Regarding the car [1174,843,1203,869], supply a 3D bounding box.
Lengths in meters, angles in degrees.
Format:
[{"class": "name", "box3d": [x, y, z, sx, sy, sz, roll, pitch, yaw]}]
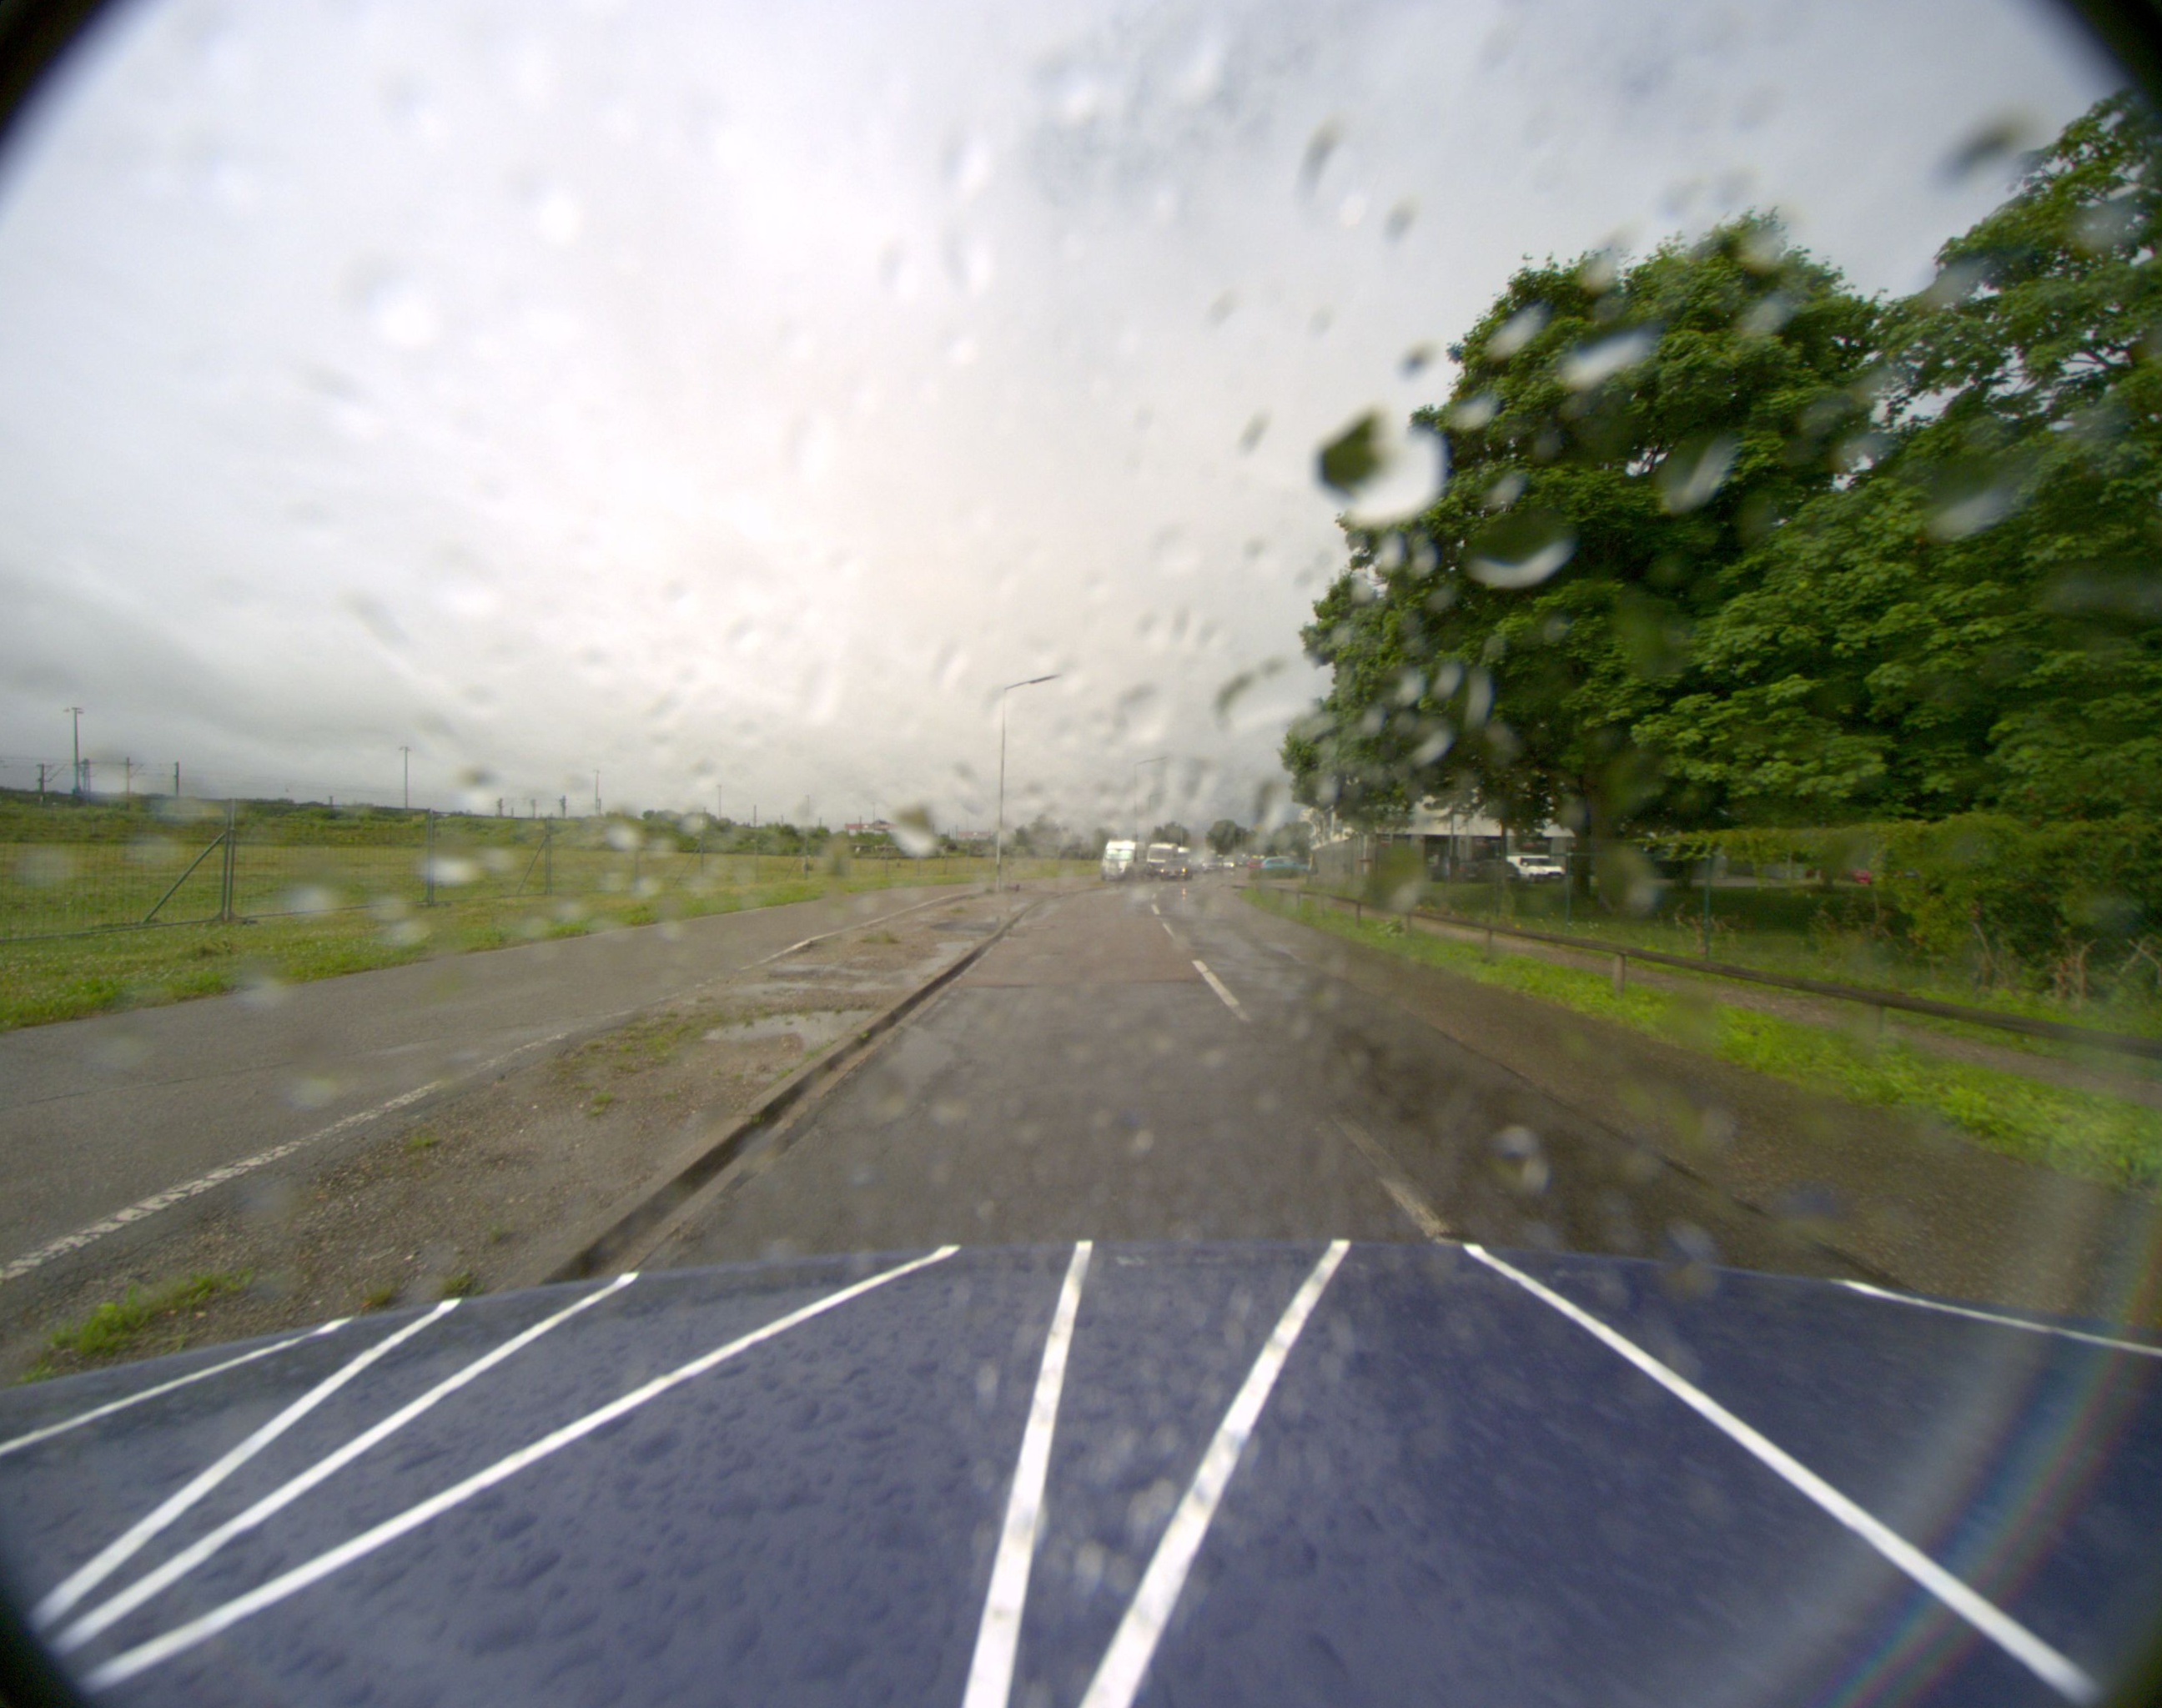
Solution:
[{"class": "car", "box3d": [11.480, 0.237, 80.782, 2.071, 2.514, 6.666, 3, 1, 16]}]

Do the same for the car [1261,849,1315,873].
[{"class": "car", "box3d": [15.659, 0.508, 57.529, 3.815, 1.624, 1.757, -2, 0, 17]}]

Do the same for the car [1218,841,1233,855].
[{"class": "car", "box3d": [22.777, -0.958, 119.825, 1.996, 2.228, 4.569, 1, 0, 15]}]

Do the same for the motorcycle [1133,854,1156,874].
[{"class": "motorcycle", "box3d": [4.723, 0.728, 56.227, 1.646, 1.367, 0.722, 2, 1, 4]}]

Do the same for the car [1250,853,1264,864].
[{"class": "car", "box3d": [25.622, 0.626, 110.439, 1.659, 1.460, 3.394, 1, 1, 18]}]

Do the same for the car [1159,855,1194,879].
[{"class": "car", "box3d": [6.401, 0.809, 50.598, 1.872, 1.510, 4.362, 1, 0, 13]}]

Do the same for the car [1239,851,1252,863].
[{"class": "car", "box3d": [29.211, 0.575, 134.963, 1.996, 2.002, 4.004, -2, 0, 13]}]

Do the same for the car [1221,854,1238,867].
[{"class": "car", "box3d": [19.088, 0.832, 97.403, 1.839, 1.510, 4.362, 1, 1, 14]}]

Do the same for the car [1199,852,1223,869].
[{"class": "car", "box3d": [13.262, 0.653, 77.117, 2.008, 1.695, 4.334, 0, 0, 15]}]

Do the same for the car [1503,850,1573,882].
[{"class": "car", "box3d": [28.382, 0.697, 47.351, 1.642, 1.825, 4.348, -1, 1, -3]}]

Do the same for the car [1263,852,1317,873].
[{"class": "car", "box3d": [17.085, 0.694, 62.268, 4.178, 1.540, 1.862, -2, 0, 14]}]

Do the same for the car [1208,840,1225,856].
[{"class": "car", "box3d": [19.431, -0.843, 108.587, 1.996, 2.228, 4.569, 1, 0, 15]}]

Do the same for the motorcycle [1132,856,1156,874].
[{"class": "motorcycle", "box3d": [4.736, 0.821, 57.284, 1.676, 1.188, 0.648, 3, 2, -7]}]

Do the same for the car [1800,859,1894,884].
[{"class": "car", "box3d": [48.393, 1.077, 48.112, 1.642, 1.388, 4.183, -1, 1, -3]}]

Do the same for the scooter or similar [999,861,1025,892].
[{"class": "scooter or similar", "box3d": [-2.829, 0.910, 31.300, 0.491, 1.208, 1.342, 1, 1, 23]}]

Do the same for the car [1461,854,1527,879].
[{"class": "car", "box3d": [25.684, 0.766, 47.396, 1.688, 1.388, 4.127, -1, 1, -3]}]

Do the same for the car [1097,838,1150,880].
[{"class": "car", "box3d": [2.796, 0.250, 48.356, 2.094, 2.459, 5.954, 2, 1, 15]}]

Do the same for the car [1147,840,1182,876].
[{"class": "car", "box3d": [7.198, 0.309, 64.819, 2.147, 2.867, 5.281, 4, 1, 13]}]

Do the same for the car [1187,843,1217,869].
[{"class": "car", "box3d": [14.549, 0.176, 91.260, 2.473, 2.939, 6.896, 2, 1, 17]}]

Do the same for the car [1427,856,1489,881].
[{"class": "car", "box3d": [23.494, 0.867, 47.463, 1.642, 1.388, 4.186, -1, 1, -3]}]
